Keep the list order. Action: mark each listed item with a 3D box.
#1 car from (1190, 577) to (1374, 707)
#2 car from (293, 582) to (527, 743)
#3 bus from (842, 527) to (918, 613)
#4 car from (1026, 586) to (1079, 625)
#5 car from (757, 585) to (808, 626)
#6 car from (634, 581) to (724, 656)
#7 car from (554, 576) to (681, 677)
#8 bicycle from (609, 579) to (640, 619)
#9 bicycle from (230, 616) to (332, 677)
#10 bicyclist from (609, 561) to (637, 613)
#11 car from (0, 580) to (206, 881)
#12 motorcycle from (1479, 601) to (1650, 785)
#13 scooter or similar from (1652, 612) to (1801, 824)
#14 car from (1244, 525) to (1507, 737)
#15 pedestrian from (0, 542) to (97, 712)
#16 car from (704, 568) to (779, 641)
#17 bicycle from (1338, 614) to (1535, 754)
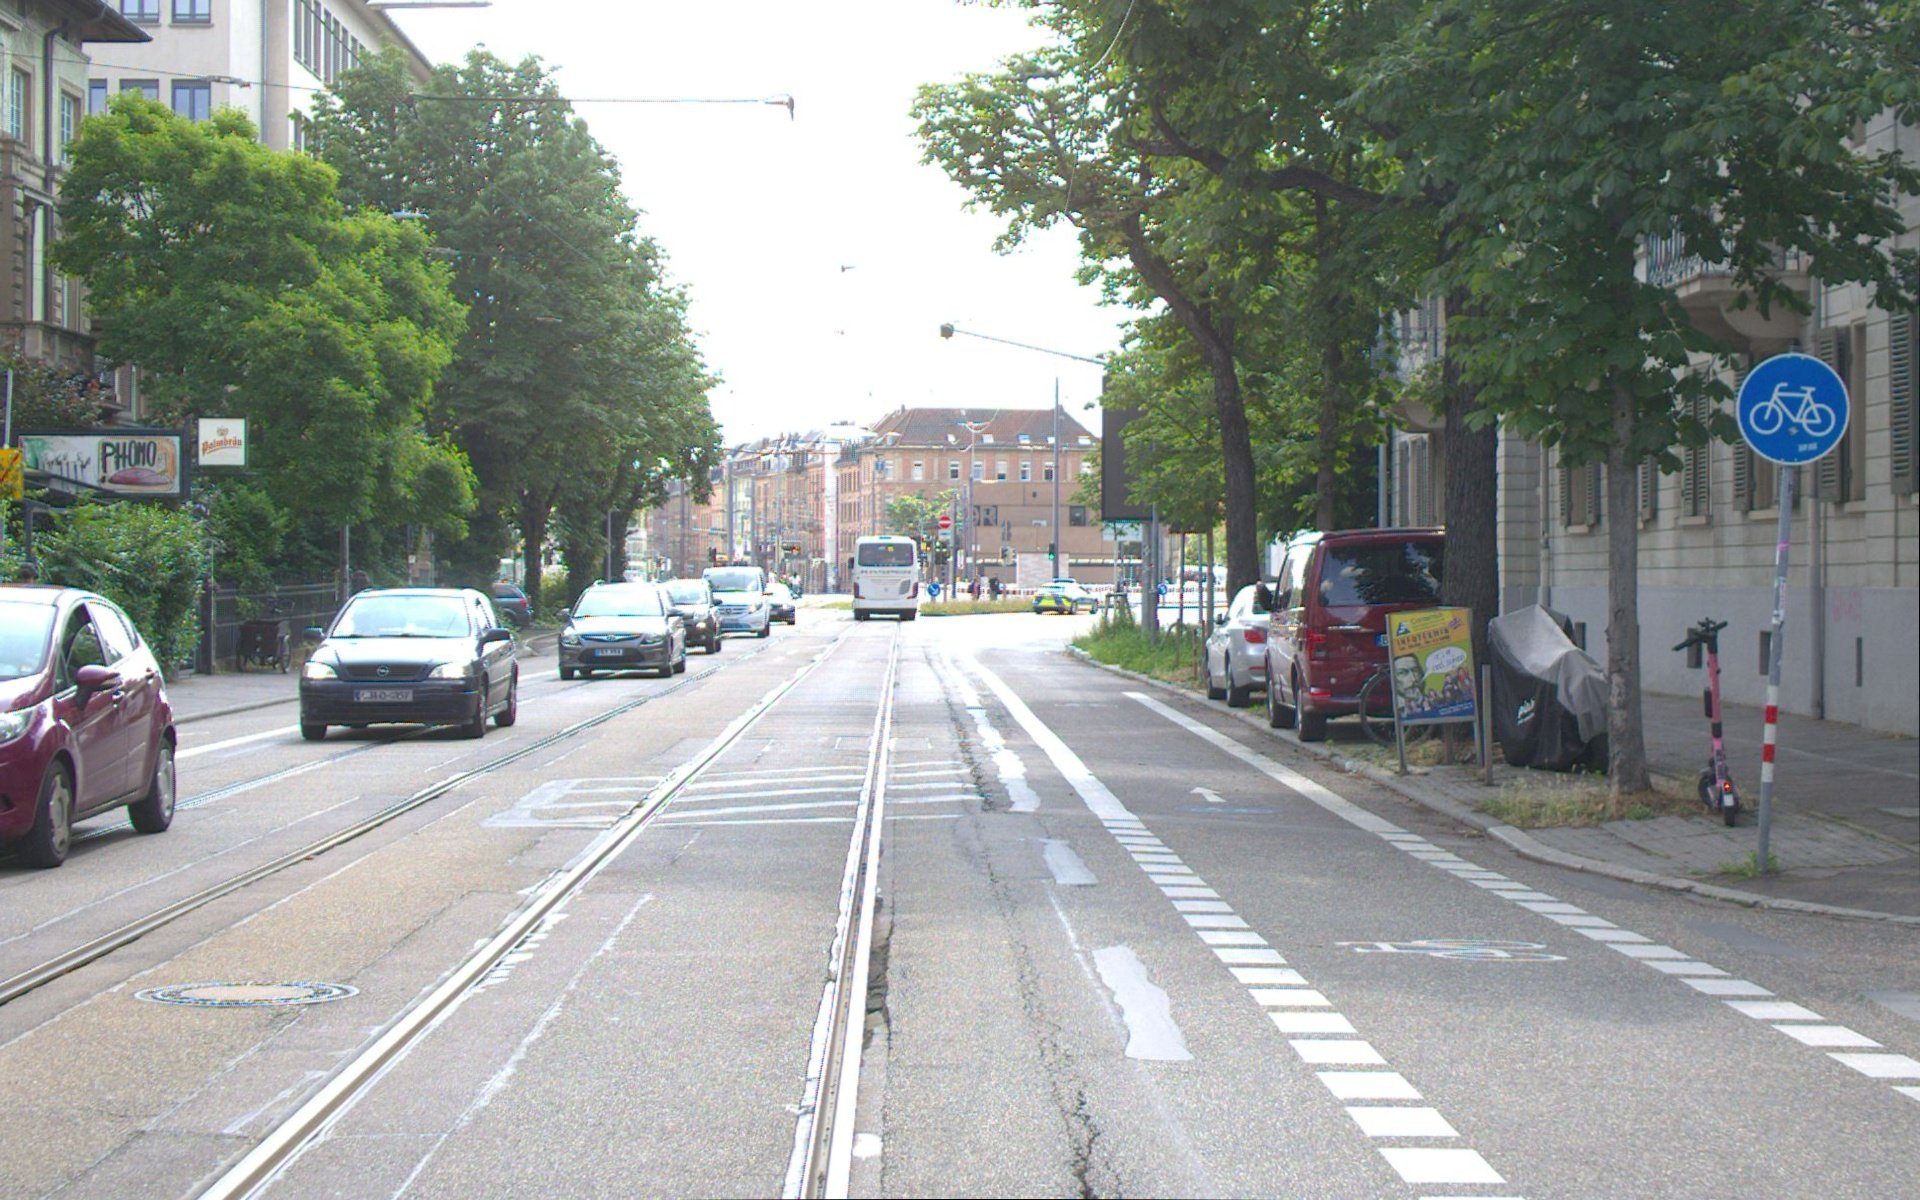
[{"bbox_3d":[3.875,0.467,42.075,1.707,1.493,4.789,0,0,-1],"label":"car"},{"bbox_3d":[-5.192,0.552,32.894,1.628,1.402,4.129,1,1,-1],"label":"car"},{"bbox_3d":[-3.308,-1.166,141.015,2.917,3.317,12.207,1,0,-2],"label":"bus"},{"bbox_3d":[4.334,0.233,159.845,2.130,1.678,4.101,2,1,6],"label":"car"},{"bbox_3d":[-6.255,0.183,121.462,1.688,1.397,3.931,-1,0,-1],"label":"car"},{"bbox_3d":[-5.962,0.368,73.286,1.631,1.551,3.822,0,0,-1],"label":"car"},{"bbox_3d":[-5.448,0.398,55.082,1.727,1.535,4.277,-1,0,-2],"label":"car"},{"bbox_3d":[-10.043,-0.037,102.949,0.602,1.093,2.022,-5,1,2],"label":"bicycle"},{"bbox_3d":[-11.423,0.772,57.945,1.142,0.905,2.989,3,0,-1],"label":"bicycle"},{"bbox_3d":[-10.076,-0.392,102.882,0.599,1.487,0.882,-5,1,2],"label":"bicyclist"},{"bbox_3d":[-5.331,0.632,18.539,1.594,1.435,3.936,-1,0,1],"label":"car"},{"bbox_3d":[4.589,0.681,26.261,0.857,1.317,2.445,0,0,0],"label":"motorcycle"},{"bbox_3d":[4.765,0.710,21.464,0.532,1.247,1.720,-1,0,0],"label":"scooter or similar"},{"bbox_3d":[4.006,0.266,33.919,1.895,1.934,4.951,0,0,-1],"label":"car"},{"bbox_3d":[-10.471,0.304,39.185,1.059,1.911,0.829,0,0,0],"label":"pedestrian"},{"bbox_3d":[-5.854,0.102,92.569,1.897,1.901,5.384,0,0,-2],"label":"car"},{"bbox_3d":[4.135,0.723,29.882,1.610,1.199,0.590,0,0,-4],"label":"bicycle"}]
